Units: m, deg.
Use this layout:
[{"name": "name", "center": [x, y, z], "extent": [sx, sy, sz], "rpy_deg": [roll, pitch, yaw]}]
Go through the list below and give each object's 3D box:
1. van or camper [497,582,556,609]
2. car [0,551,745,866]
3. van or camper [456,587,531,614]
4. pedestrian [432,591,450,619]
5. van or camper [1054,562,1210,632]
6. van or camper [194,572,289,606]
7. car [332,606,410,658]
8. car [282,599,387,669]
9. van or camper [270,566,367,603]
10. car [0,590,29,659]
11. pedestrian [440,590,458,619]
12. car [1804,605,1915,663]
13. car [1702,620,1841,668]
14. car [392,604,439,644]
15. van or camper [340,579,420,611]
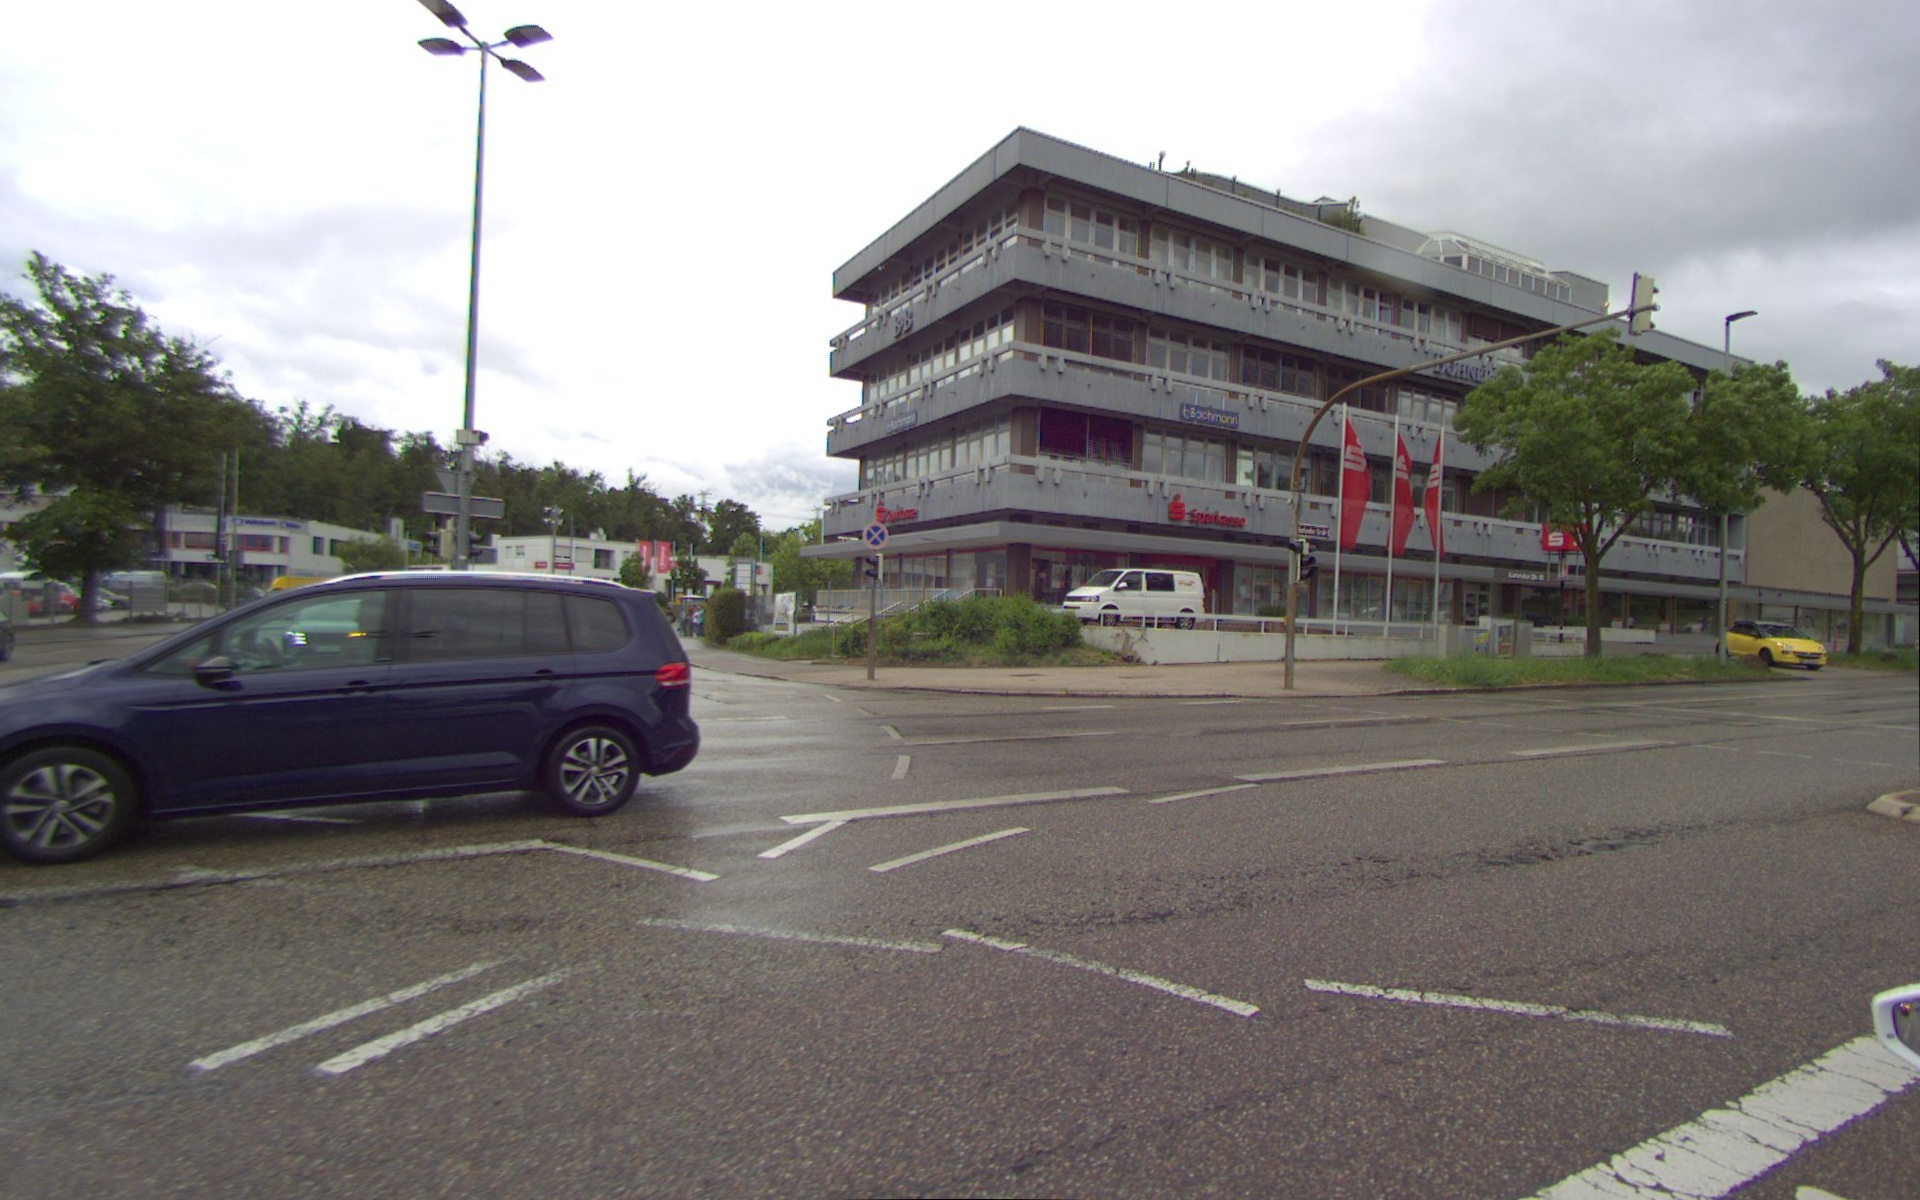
[{"name": "van or camper", "center": [-36.290, -0.359, 84.165], "extent": [4.212, 2.040, 1.801], "rpy_deg": [2, 1, -43]}, {"name": "car", "center": [-3.885, 0.606, 6.933], "extent": [4.312, 1.630, 1.901], "rpy_deg": [2, -1, -31]}, {"name": "van or camper", "center": [-36.932, 0.054, 79.550], "extent": [5.025, 2.040, 1.976], "rpy_deg": [2, -1, -41]}, {"name": "pedestrian", "center": [-34.011, 0.322, 65.828], "extent": [0.849, 1.803, 0.532], "rpy_deg": [1, 0, 5]}, {"name": "van or camper", "center": [5.599, -0.095, 32.493], "extent": [4.733, 1.993, 1.984], "rpy_deg": [3, 1, -30]}, {"name": "van or camper", "center": [-45.751, -0.657, 64.024], "extent": [4.743, 2.040, 1.956], "rpy_deg": [2, -1, -42]}, {"name": "car", "center": [-17.282, 0.912, 29.619], "extent": [1.856, 1.418, 3.671], "rpy_deg": [2, -1, -29]}, {"name": "car", "center": [-14.824, 0.757, 23.990], "extent": [1.856, 1.509, 4.130], "rpy_deg": [2, -1, -29]}, {"name": "van or camper", "center": [-45.374, -1.054, 71.189], "extent": [5.657, 2.388, 1.924], "rpy_deg": [1, -1, -31]}, {"name": "car", "center": [-21.922, 0.526, 21.618], "extent": [1.795, 1.509, 3.962], "rpy_deg": [2, 0, -29]}, {"name": "pedestrian", "center": [-33.904, 0.277, 66.632], "extent": [0.731, 1.911, 0.724], "rpy_deg": [1, 0, 5]}, {"name": "car", "center": [35.110, 1.326, 39.189], "extent": [3.952, 2.040, 1.984], "rpy_deg": [3, 1, -29]}, {"name": "car", "center": [28.356, 1.494, 35.272], "extent": [1.861, 1.572, 4.002], "rpy_deg": [1, -1, 5]}, {"name": "car", "center": [-20.814, 0.890, 38.473], "extent": [1.484, 1.418, 3.363], "rpy_deg": [1, 0, -27]}, {"name": "van or camper", "center": [-39.217, -0.309, 68.028], "extent": [4.528, 2.072, 1.840], "rpy_deg": [1, -1, -26]}]
